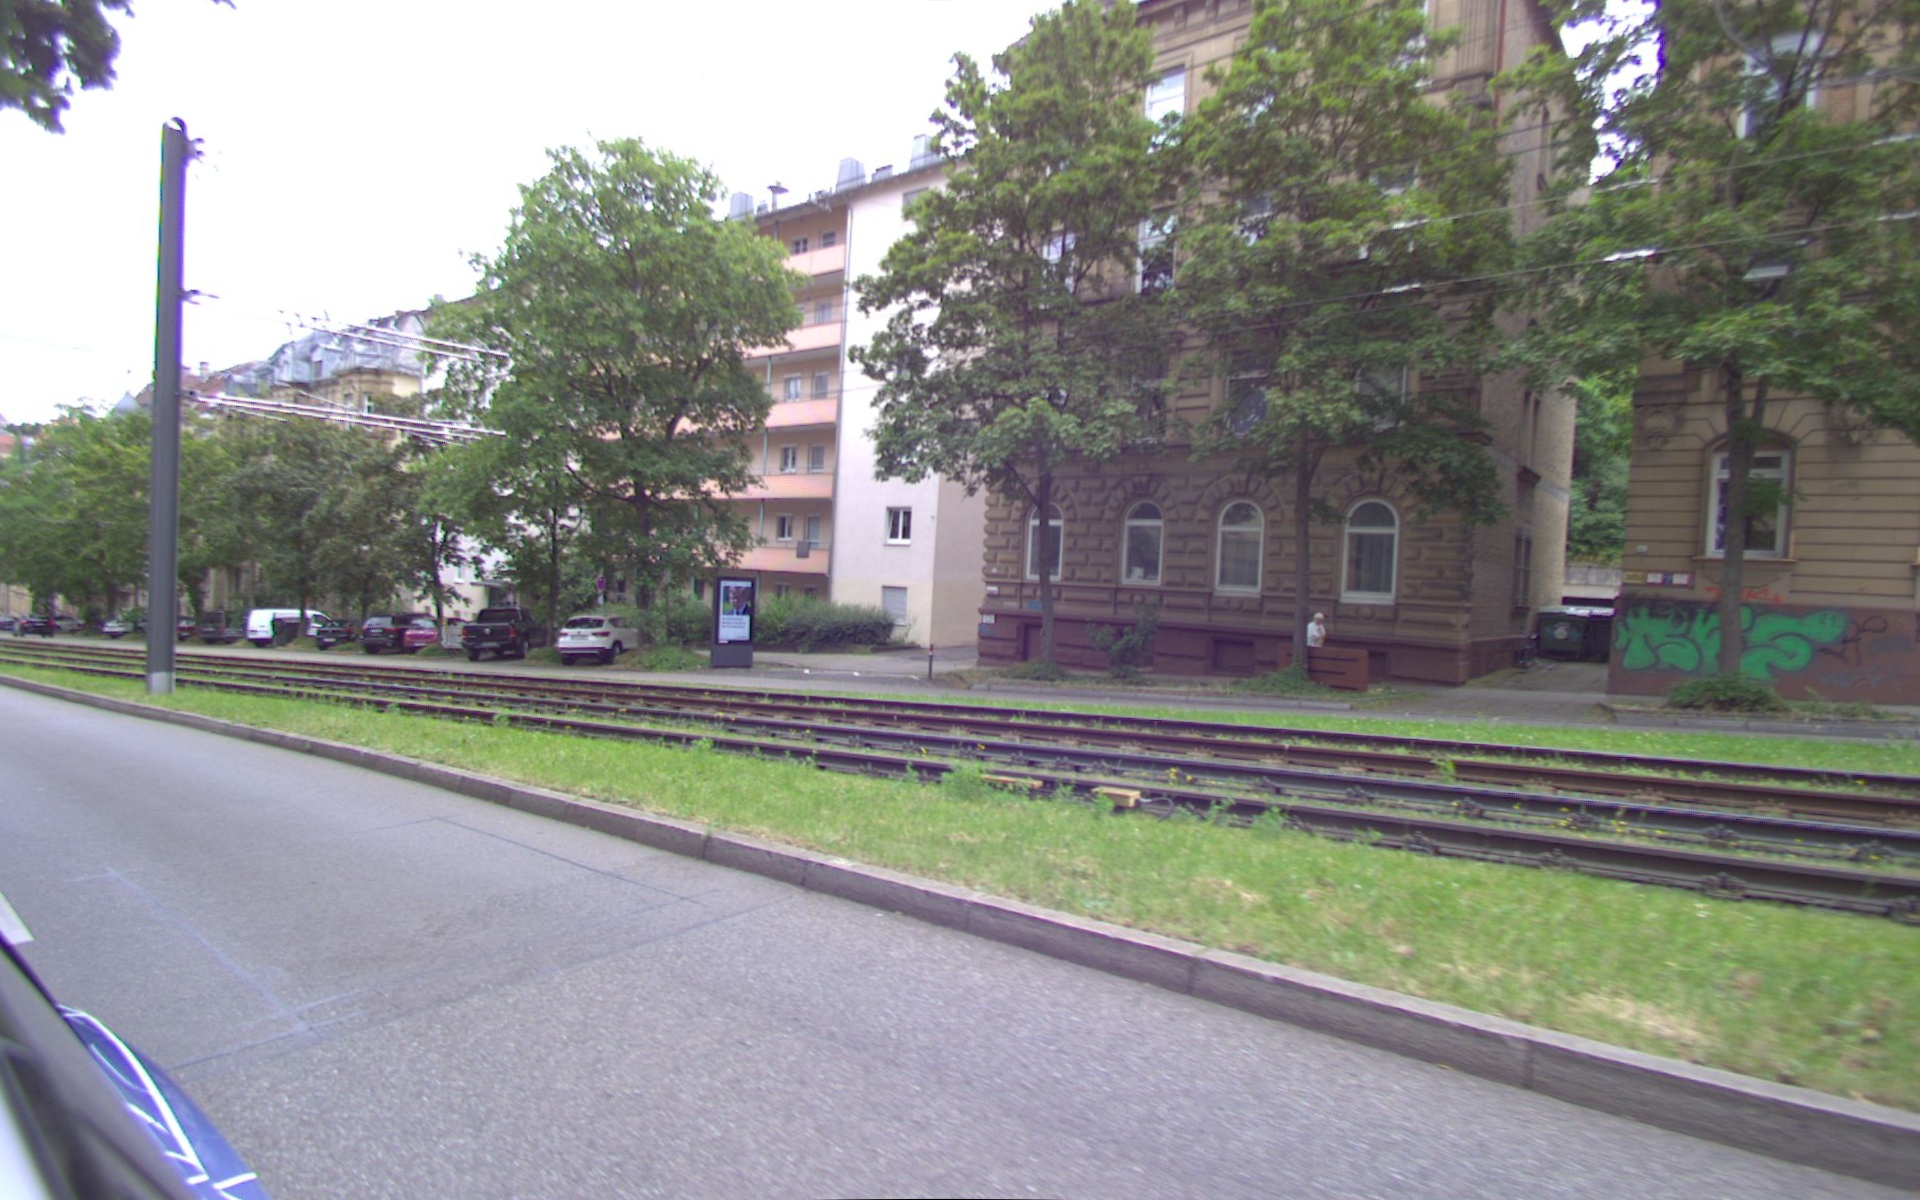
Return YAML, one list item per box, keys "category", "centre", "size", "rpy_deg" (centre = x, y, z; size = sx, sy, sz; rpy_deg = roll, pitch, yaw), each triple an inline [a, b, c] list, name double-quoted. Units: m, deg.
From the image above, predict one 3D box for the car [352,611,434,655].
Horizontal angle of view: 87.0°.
- category: "car"
  centre: [-23.392, 1.350, 41.907]
  size: [1.756, 1.701, 3.866]
  rpy_deg: [1, -2, -10]

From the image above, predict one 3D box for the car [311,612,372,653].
- category: "car"
  centre: [-27.887, 1.431, 45.745]
  size: [1.753, 1.700, 3.871]
  rpy_deg: [1, -1, -23]

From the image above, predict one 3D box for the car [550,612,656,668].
- category: "car"
  centre: [-11.496, 1.238, 32.857]
  size: [1.763, 1.701, 3.850]
  rpy_deg: [0, -1, 7]

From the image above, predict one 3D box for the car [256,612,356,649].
- category: "car"
  centre: [-31.446, 1.445, 48.784]
  size: [1.768, 1.701, 3.838]
  rpy_deg: [0, -2, 16]

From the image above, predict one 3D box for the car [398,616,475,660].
- category: "car"
  centre: [-21.219, 1.509, 41.169]
  size: [1.755, 1.701, 3.867]
  rpy_deg: [1, -2, -11]

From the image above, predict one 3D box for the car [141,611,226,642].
- category: "car"
  centre: [-48.246, 1.641, 62.947]
  size: [1.773, 1.828, 3.827]
  rpy_deg: [0, -2, 23]

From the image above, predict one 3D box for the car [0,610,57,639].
- category: "car"
  centre: [-65.181, 1.707, 70.794]
  size: [3.988, 2.029, 1.977]
  rpy_deg: [-1, -2, 33]

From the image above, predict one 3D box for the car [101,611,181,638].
- category: "car"
  centre: [-55.227, 1.657, 68.330]
  size: [1.773, 1.828, 3.827]
  rpy_deg: [0, -2, 23]

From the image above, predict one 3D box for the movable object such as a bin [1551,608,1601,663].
- category: "movable object such as a bin"
  centre: [17.167, 0.974, 28.190]
  size: [1.037, 1.468, 1.096]
  rpy_deg: [0, 0, 39]

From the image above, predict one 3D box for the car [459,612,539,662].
- category: "car"
  centre: [-16.438, 1.315, 36.293]
  size: [1.755, 1.701, 3.867]
  rpy_deg: [1, -2, -11]

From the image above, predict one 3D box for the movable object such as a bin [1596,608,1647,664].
- category: "movable object such as a bin"
  centre: [17.985, 0.968, 27.511]
  size: [1.037, 1.468, 1.096]
  rpy_deg: [0, 0, 39]

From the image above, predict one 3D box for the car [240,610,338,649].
- category: "car"
  centre: [-33.272, 1.454, 50.331]
  size: [1.768, 1.828, 3.838]
  rpy_deg: [0, -2, 16]

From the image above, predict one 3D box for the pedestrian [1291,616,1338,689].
- category: "pedestrian"
  centre: [7.567, 1.112, 21.603]
  size: [0.739, 1.524, 0.681]
  rpy_deg: [-1, -2, 40]

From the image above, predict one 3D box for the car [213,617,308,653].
- category: "car"
  centre: [-37.279, 1.864, 54.017]
  size: [1.773, 1.828, 3.827]
  rpy_deg: [0, -2, 23]

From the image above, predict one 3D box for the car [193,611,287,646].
- category: "car"
  centre: [-39.470, 1.557, 55.580]
  size: [1.773, 1.828, 3.827]
  rpy_deg: [0, -2, 23]

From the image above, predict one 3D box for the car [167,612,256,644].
- category: "car"
  centre: [-43.973, 1.652, 59.541]
  size: [1.773, 1.828, 3.827]
  rpy_deg: [0, -2, 23]
